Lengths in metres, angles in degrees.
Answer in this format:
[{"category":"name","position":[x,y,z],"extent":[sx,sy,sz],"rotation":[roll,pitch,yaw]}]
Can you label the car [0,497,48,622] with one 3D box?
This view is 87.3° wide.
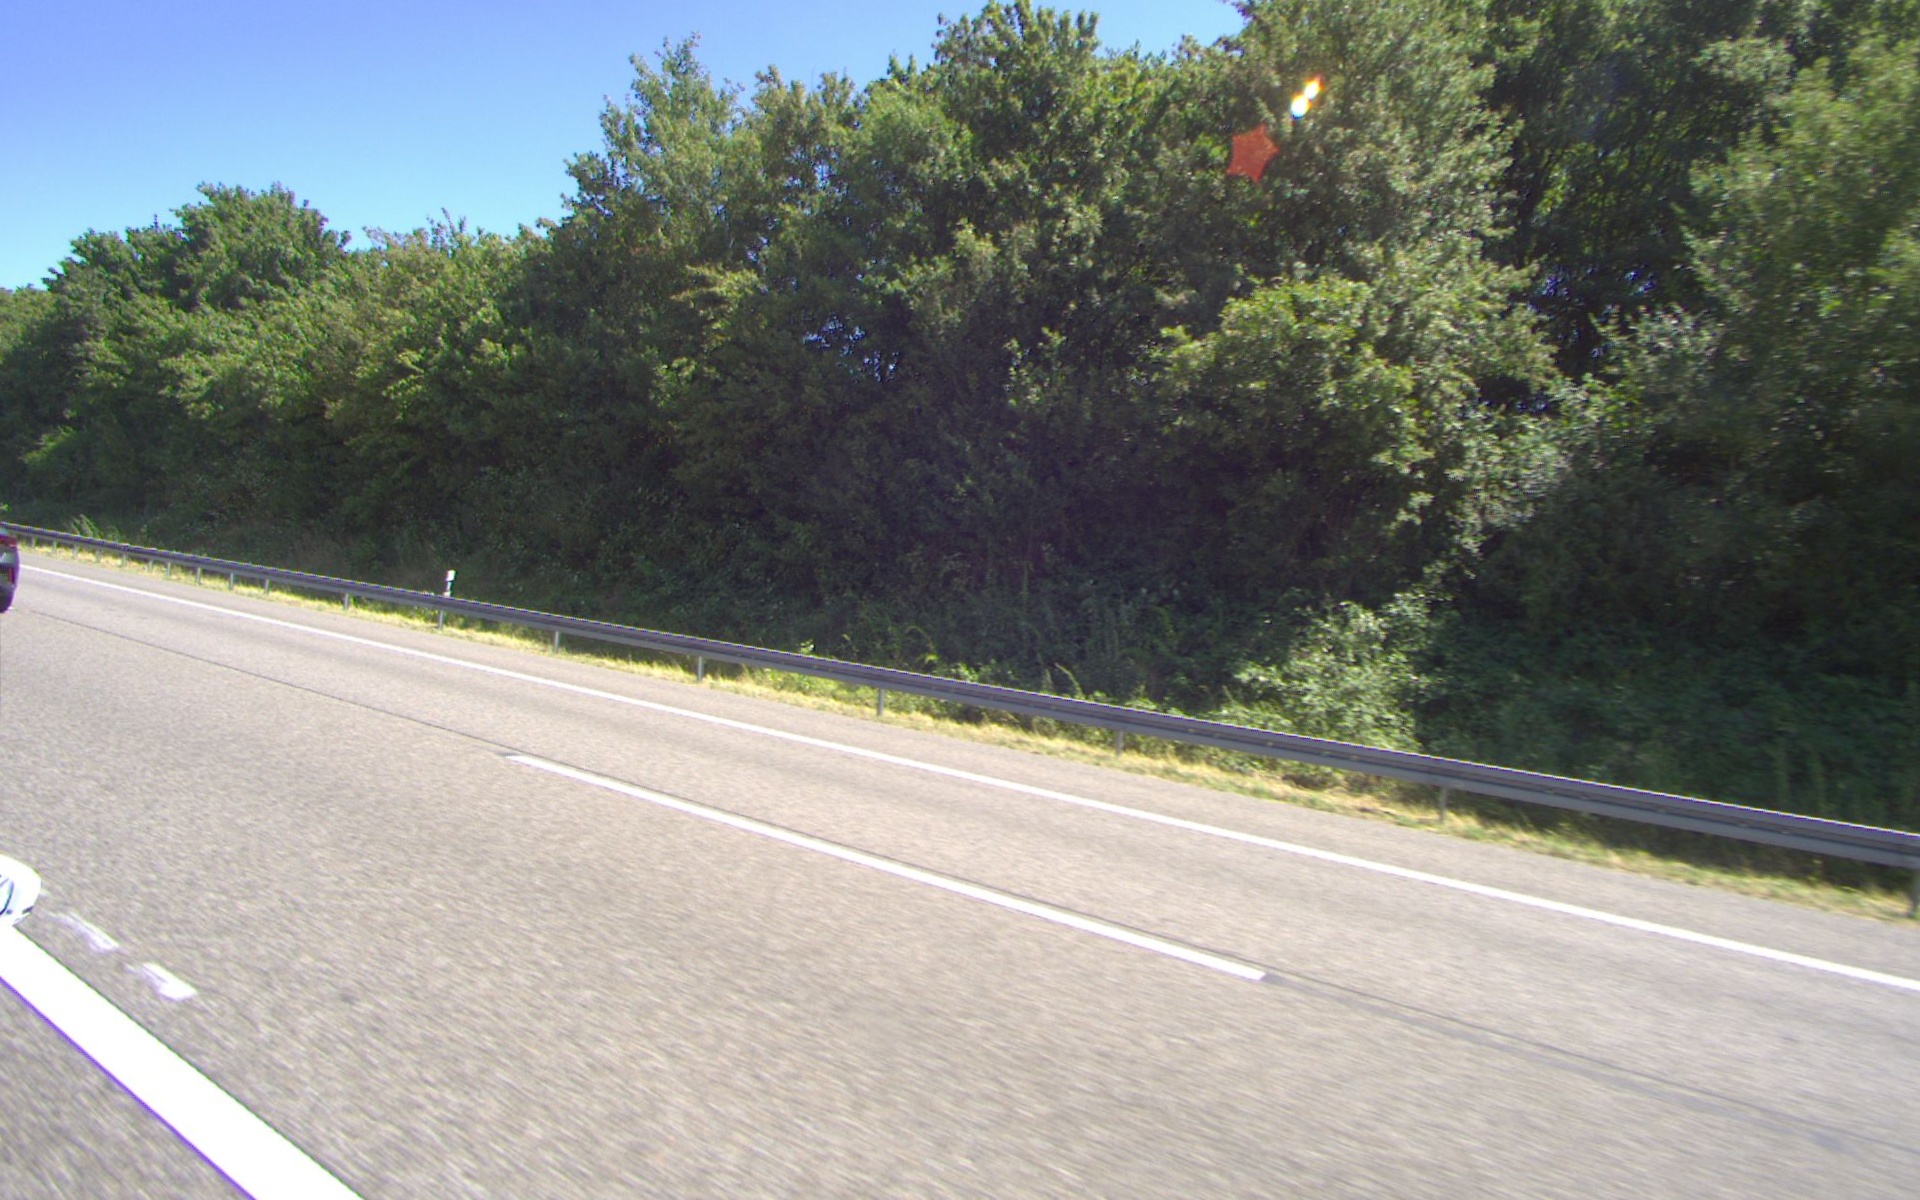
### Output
[{"category":"car","position":[-14.460,-0.802,13.515],"extent":[4.680,1.550,1.903],"rotation":[7,-1,31]}]
